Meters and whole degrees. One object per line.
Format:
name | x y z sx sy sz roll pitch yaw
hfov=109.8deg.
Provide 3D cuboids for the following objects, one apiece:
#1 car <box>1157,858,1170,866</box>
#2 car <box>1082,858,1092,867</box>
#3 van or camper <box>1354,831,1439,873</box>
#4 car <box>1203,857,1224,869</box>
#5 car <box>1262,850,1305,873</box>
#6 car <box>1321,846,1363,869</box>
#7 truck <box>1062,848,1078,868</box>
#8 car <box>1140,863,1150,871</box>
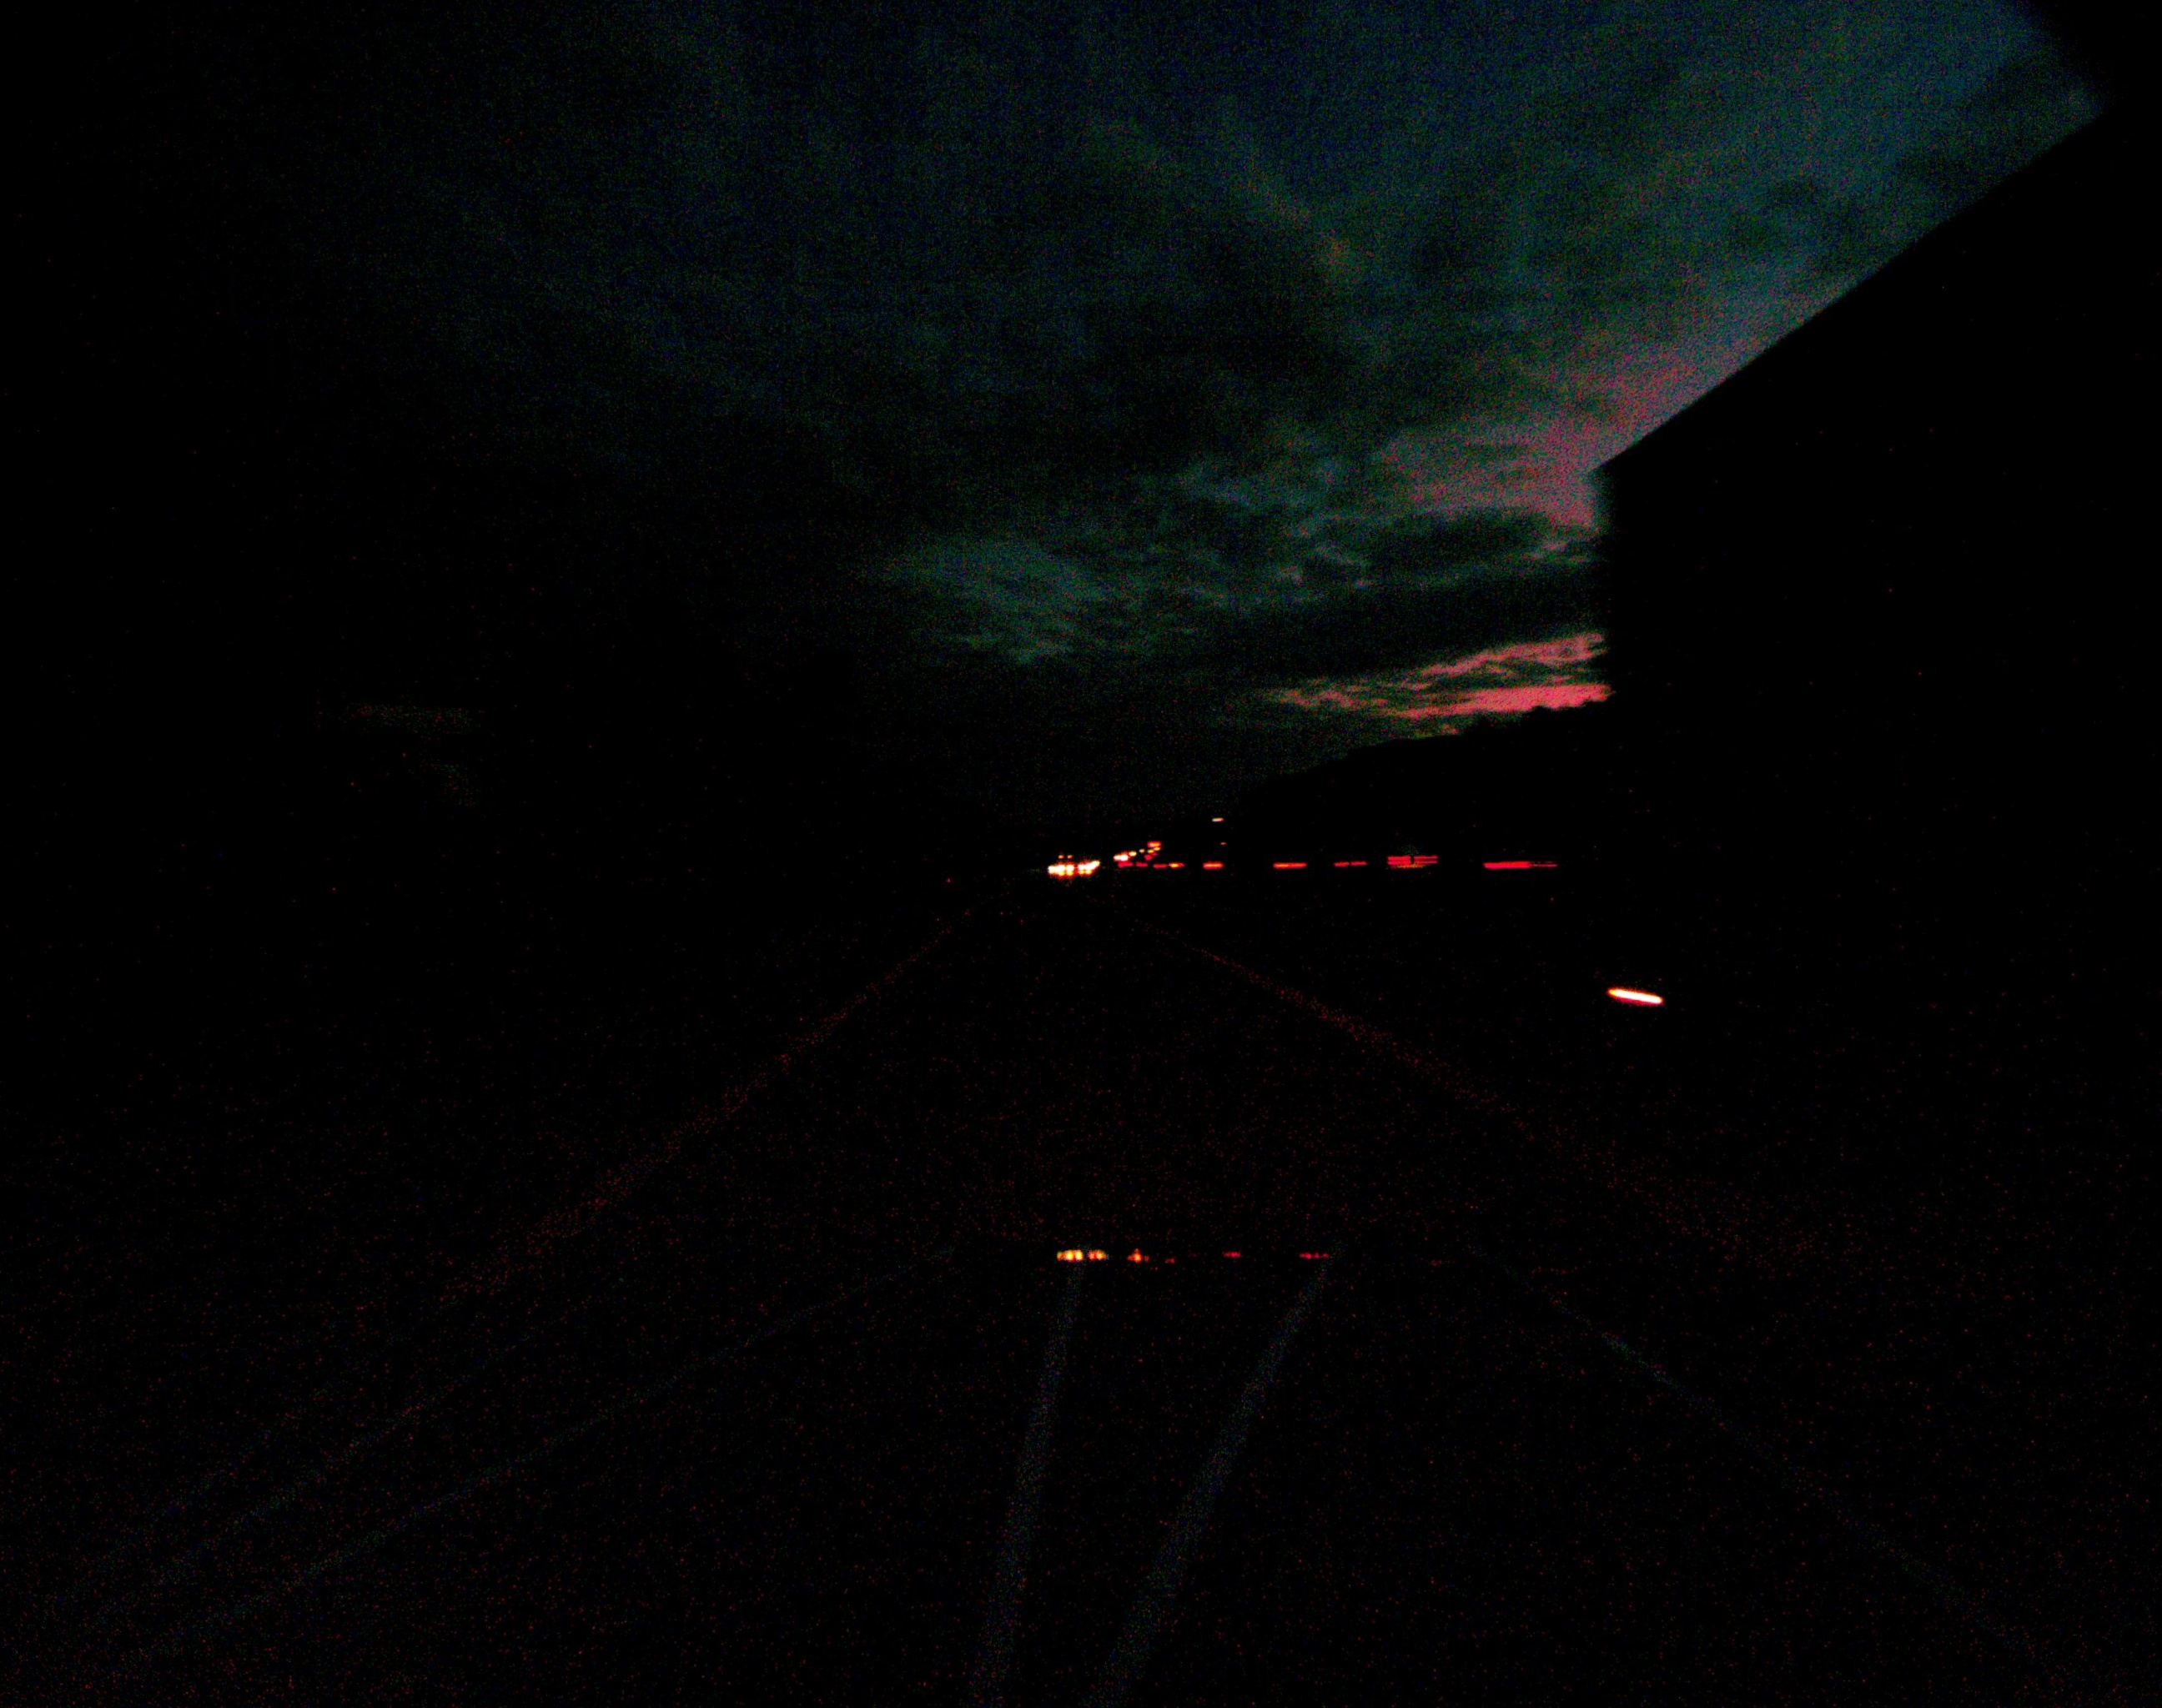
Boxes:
car | 17.325 1.659 158.889 1.999 1.600 4.558 -2 0 -2
car | 1.408 2.000 179.444 1.999 2.002 4.000 -2 0 -1
van or camper | 21.142 -0.137 51.354 2.524 2.580 6.486 -3 0 -4
car | 18.644 1.225 107.111 1.999 1.537 3.999 -2 0 -3
car | 16.715 0.640 62.901 2.000 1.734 3.998 -4 0 -7
car | 23.777 0.344 69.402 2.033 2.002 4.237 -2 0 -6
truck | -2.369 0.871 170.808 3.353 4.293 11.325 -2 0 0
car | 17.344 3.484 205.794 1.999 2.002 3.998 -4 0 -6
